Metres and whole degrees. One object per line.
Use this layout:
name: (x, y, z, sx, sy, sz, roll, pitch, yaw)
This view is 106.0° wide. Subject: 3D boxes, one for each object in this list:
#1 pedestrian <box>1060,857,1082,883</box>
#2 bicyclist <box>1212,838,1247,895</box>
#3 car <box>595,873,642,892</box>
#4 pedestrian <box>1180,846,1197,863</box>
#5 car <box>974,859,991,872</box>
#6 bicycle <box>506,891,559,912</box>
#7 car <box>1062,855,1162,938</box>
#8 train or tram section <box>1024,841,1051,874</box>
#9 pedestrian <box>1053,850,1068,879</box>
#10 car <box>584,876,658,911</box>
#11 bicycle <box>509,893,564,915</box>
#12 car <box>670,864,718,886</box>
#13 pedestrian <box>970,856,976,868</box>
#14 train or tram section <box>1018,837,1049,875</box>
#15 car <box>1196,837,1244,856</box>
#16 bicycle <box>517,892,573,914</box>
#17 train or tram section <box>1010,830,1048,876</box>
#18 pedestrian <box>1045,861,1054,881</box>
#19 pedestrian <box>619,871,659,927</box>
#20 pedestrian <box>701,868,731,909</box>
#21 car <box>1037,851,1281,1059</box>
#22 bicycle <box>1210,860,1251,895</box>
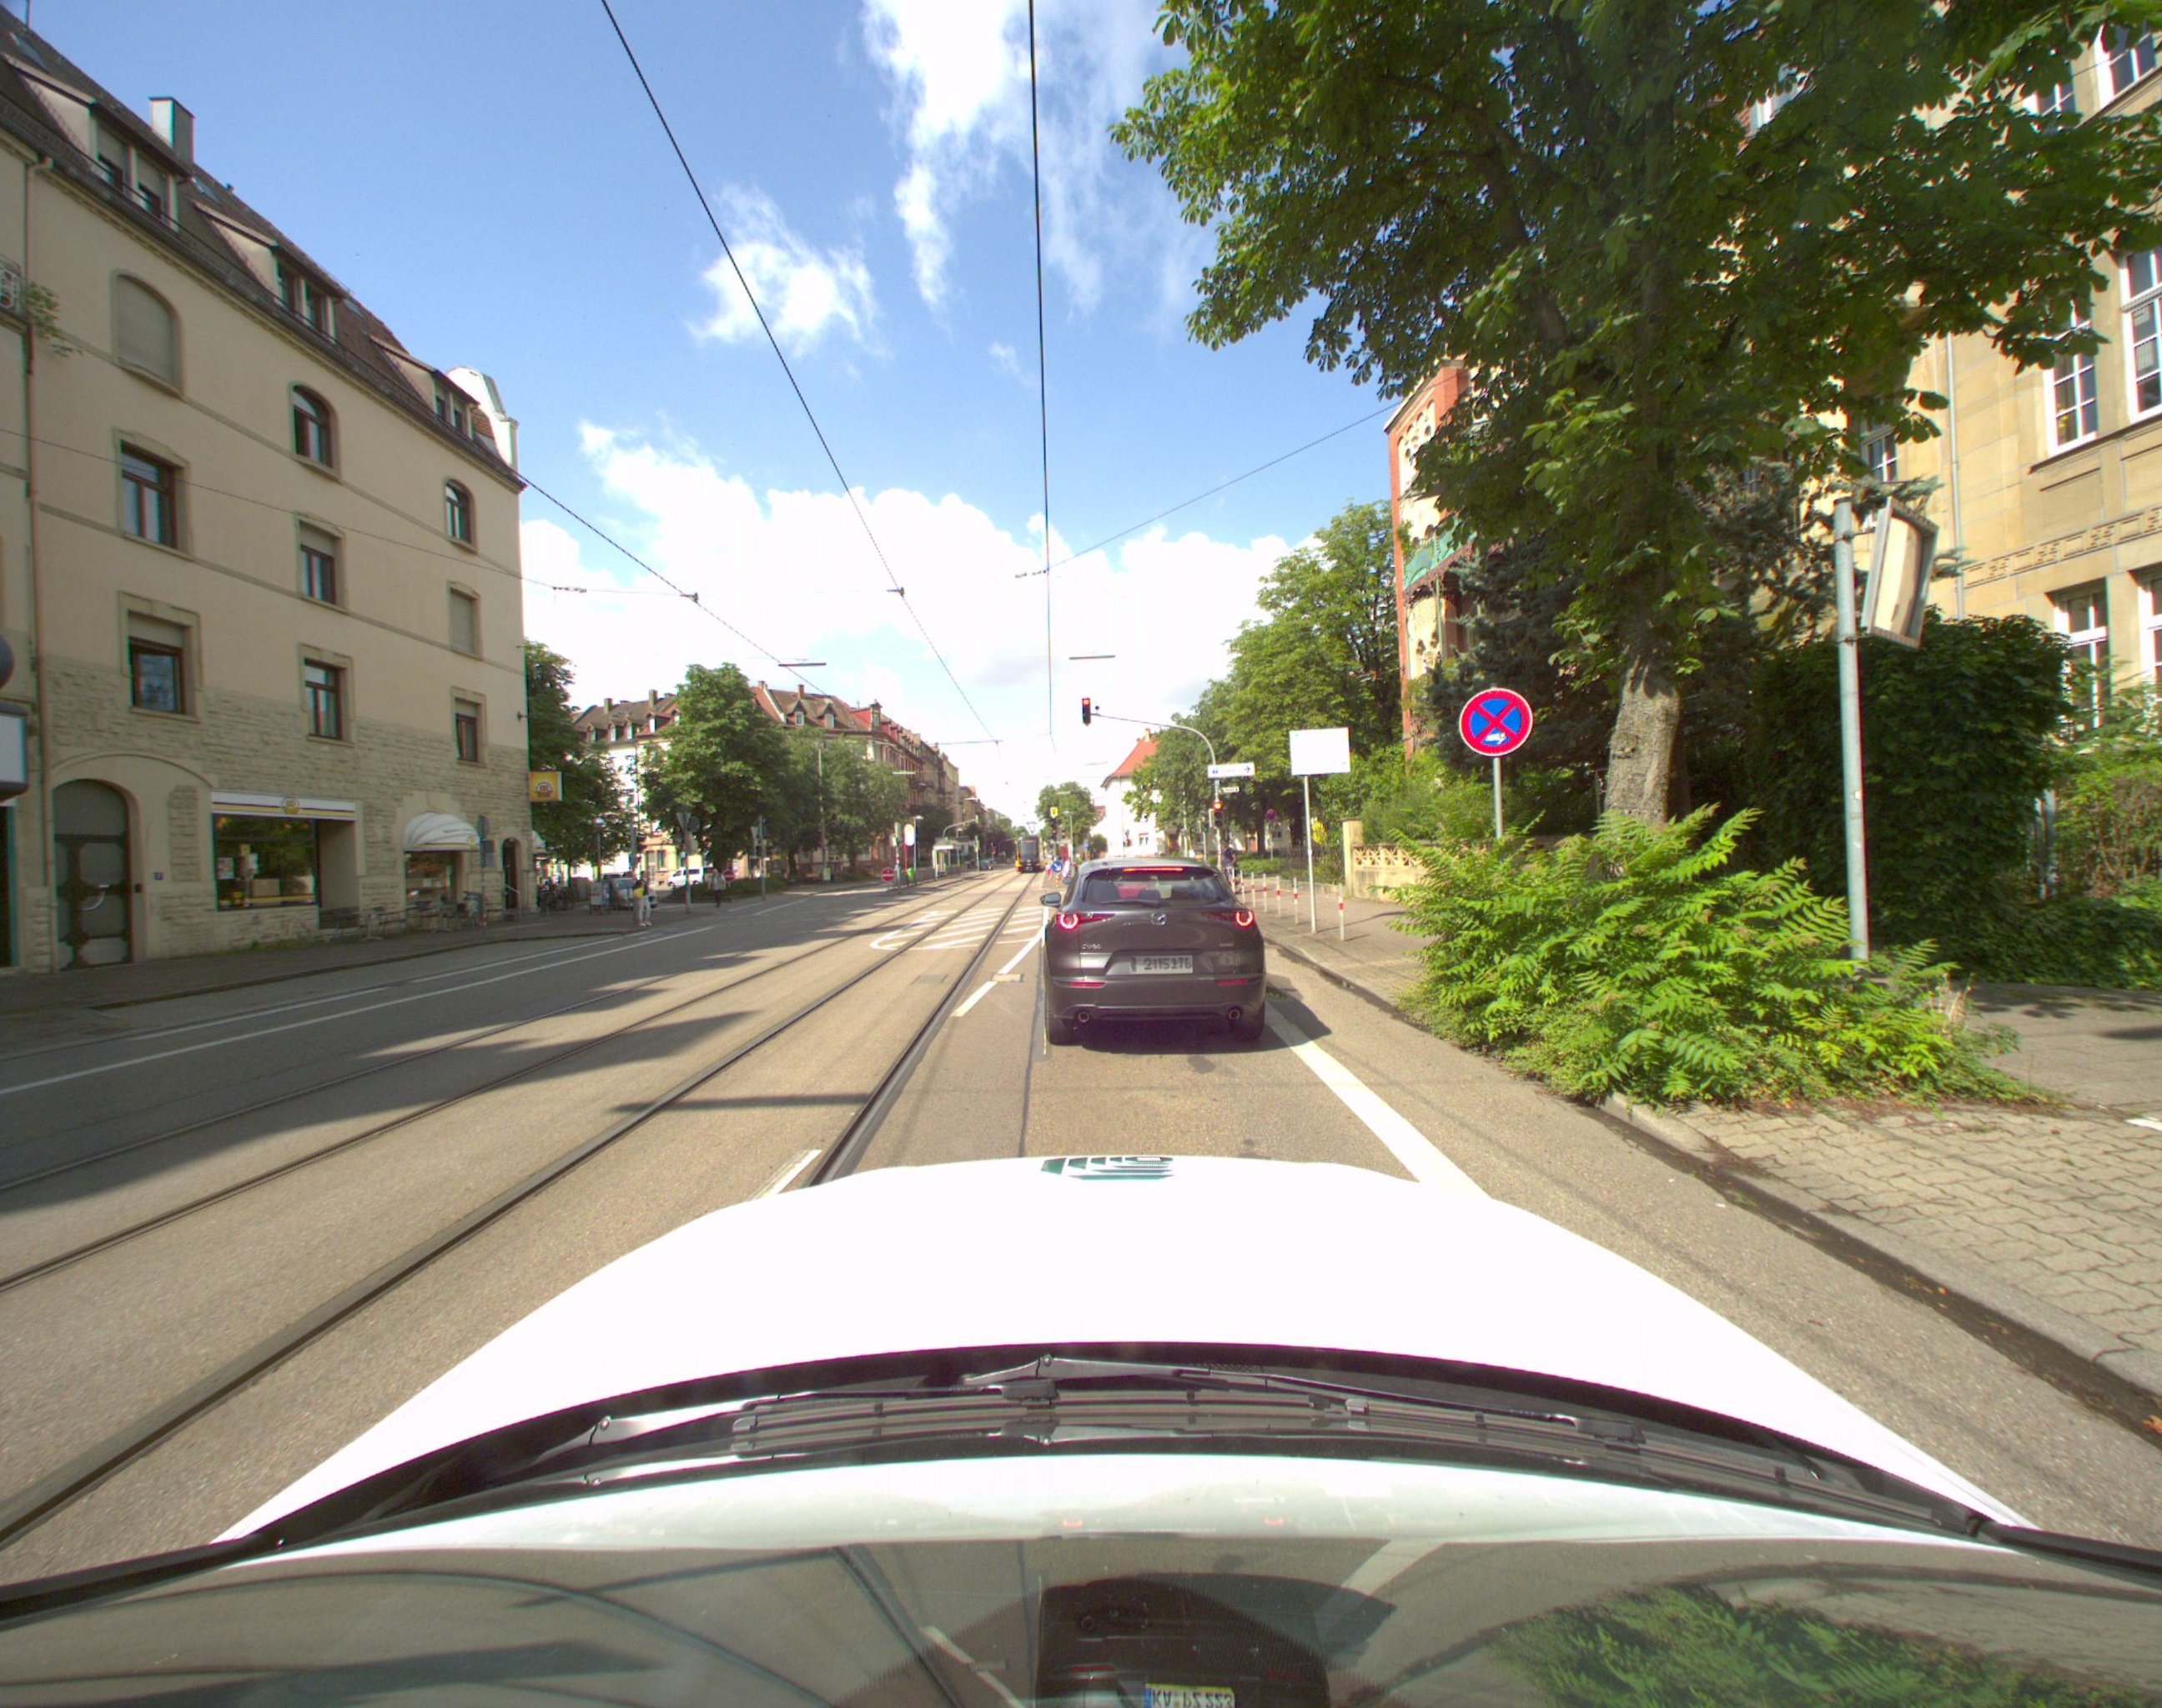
pedestrian: (-0.533, 0.851, 42.716, 0.831, 1.303, 0.710, -5, 0, -32)
bicyclist: (4.896, 0.411, 26.896, 0.736, 1.819, 0.814, -3, 0, -25)
car: (-46.421, 2.844, 81.765, 3.895, 1.663, 1.926, -3, 0, 20)
pedestrian: (8.705, 0.060, 65.918, 1.191, 1.269, 0.556, -5, 0, -7)
car: (-12.398, 1.443, 102.945, 1.620, 1.387, 3.435, -4, 0, -1)
bicycle: (-26.144, 2.266, 38.838, 0.505, 0.882, 2.043, -3, -2, 44)
car: (0.563, 0.772, 16.599, 1.769, 1.464, 3.842, -1, 0, 0)
train or tram section: (-5.672, 0.500, 108.086, 2.989, 3.983, 13.799, -3, -1, -2)
pedestrian: (-1.154, 0.598, 45.546, 0.727, 1.565, 0.797, -3, 0, -7)
car: (-21.318, 1.815, 37.687, 3.823, 1.420, 1.732, -3, 0, 41)
bicycle: (-25.341, 2.309, 37.909, 0.505, 0.882, 2.043, -3, -2, 44)
car: (-37.210, 2.032, 78.326, 3.901, 1.988, 1.866, -2, 0, 21)
pedestrian: (-15.912, 1.215, 119.775, 0.785, 1.688, 0.732, -3, 0, -1)
train or tram section: (-5.346, 0.308, 94.349, 2.989, 3.983, 13.799, -3, -1, -2)
car: (13.328, -0.717, 78.308, 4.118, 1.509, 1.864, -3, 1, 40)
bicycle: (-24.353, 2.197, 37.017, 0.516, 0.882, 2.043, -3, -2, 44)
train or tram section: (-4.976, 0.002, 80.554, 2.989, 3.983, 13.799, -3, -1, -2)
pedestrian: (-1.786, 0.959, 45.694, 0.421, 1.108, 0.438, -5, 0, -5)
pedestrian: (-13.886, 1.404, 25.598, 0.754, 1.704, 0.873, 2, 0, -3)
pedestrian: (-15.745, 1.469, 35.110, 0.852, 1.672, 0.822, -3, 0, -1)
car: (0.647, 0.756, 7.973, 1.775, 1.514, 4.002, 0, 0, 2)
bicycle: (4.970, 0.758, 26.969, 0.385, 1.035, 1.857, -3, 0, 42)
